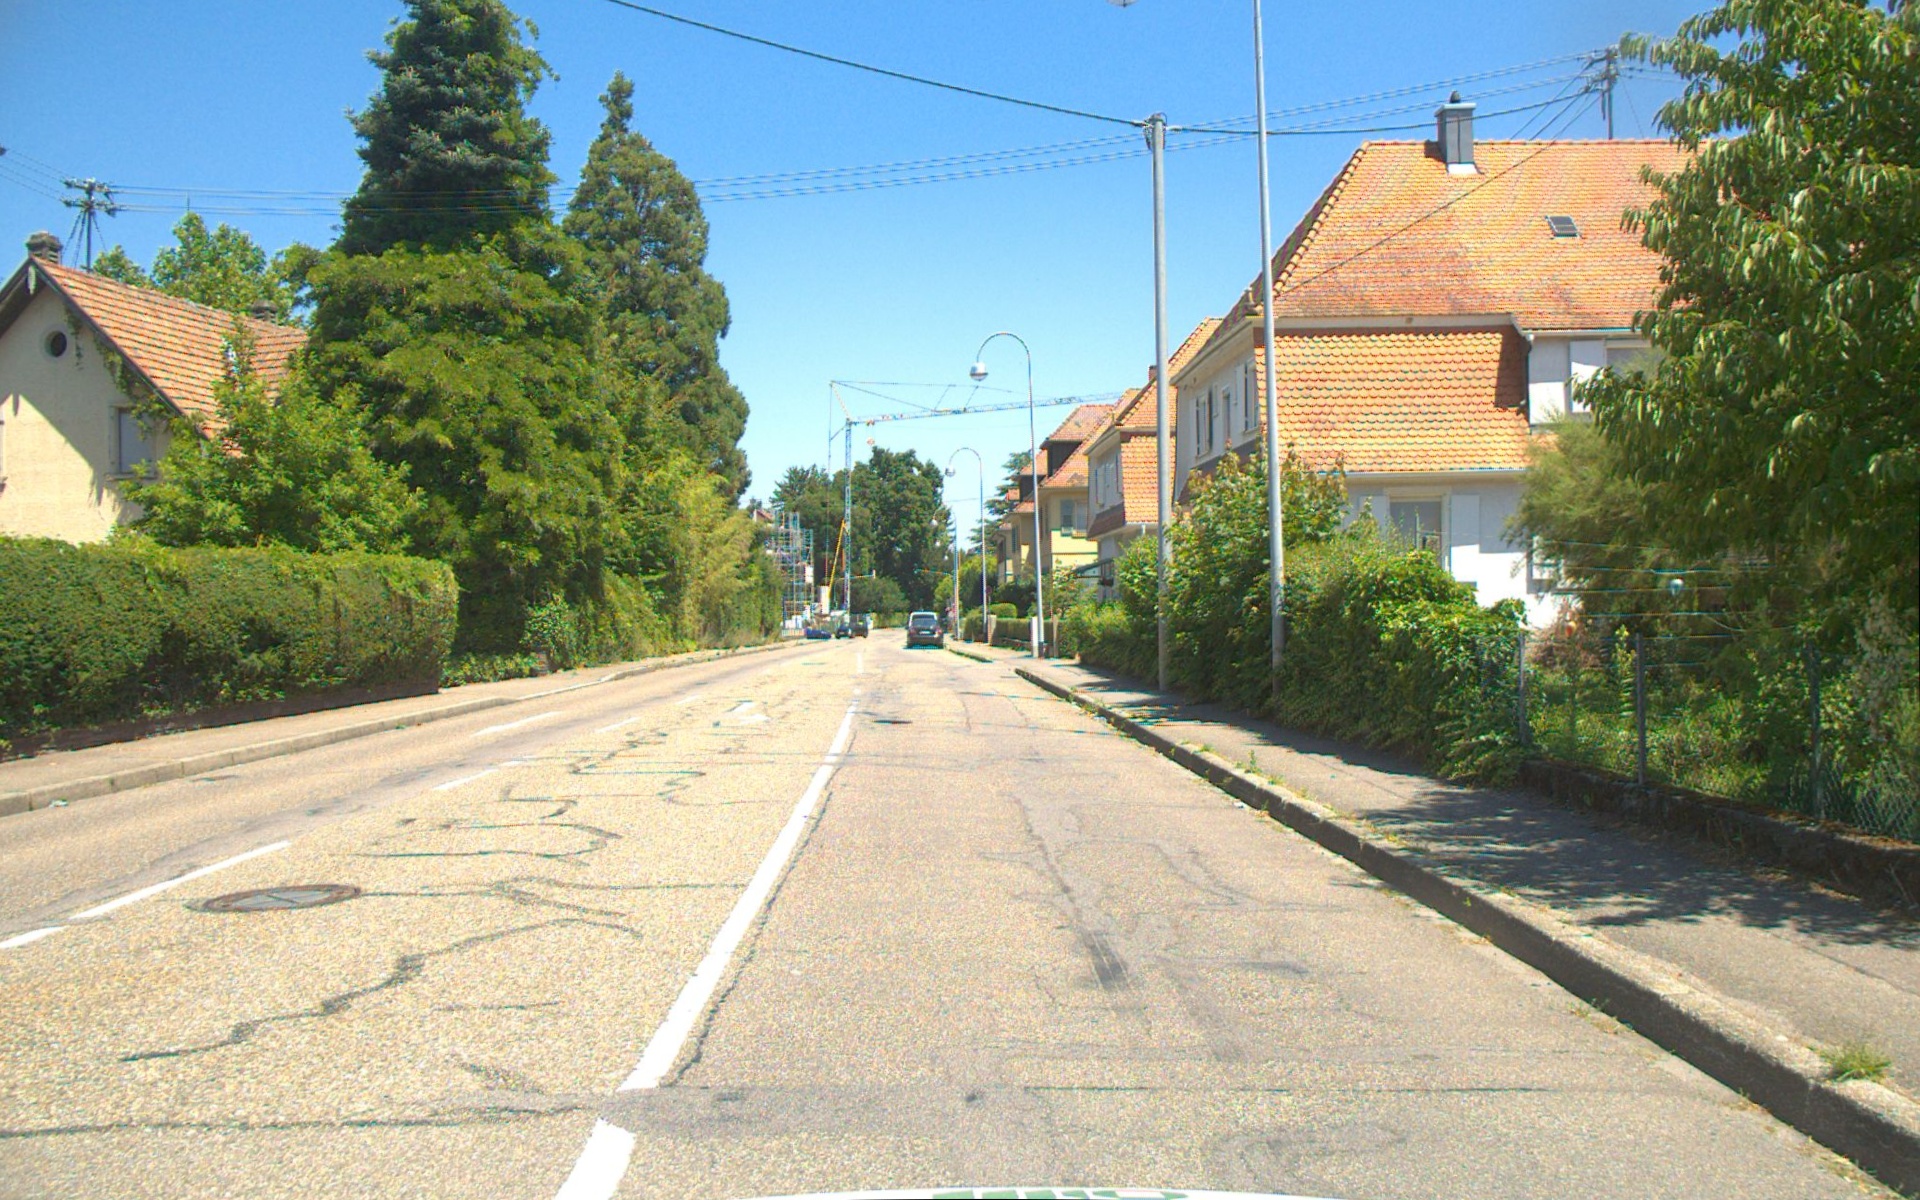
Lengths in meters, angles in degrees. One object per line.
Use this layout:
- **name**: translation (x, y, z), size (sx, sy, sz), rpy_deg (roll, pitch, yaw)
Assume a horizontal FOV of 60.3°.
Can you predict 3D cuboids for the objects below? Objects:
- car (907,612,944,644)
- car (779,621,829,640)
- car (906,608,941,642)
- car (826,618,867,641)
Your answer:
- **car**: translation (-1.665, 1.369, 78.535), size (1.659, 1.444, 4.548), rpy_deg (-1, -2, -3)
- **car**: translation (-13.570, 2.653, 143.603), size (3.902, 1.494, 1.966), rpy_deg (-1, 0, 10)
- **car**: translation (-2.191, 1.516, 98.507), size (1.953, 1.934, 4.820), rpy_deg (1, -1, -2)
- **car**: translation (-10.305, 2.629, 150.048), size (1.952, 1.883, 4.712), rpy_deg (0, 1, 20)
